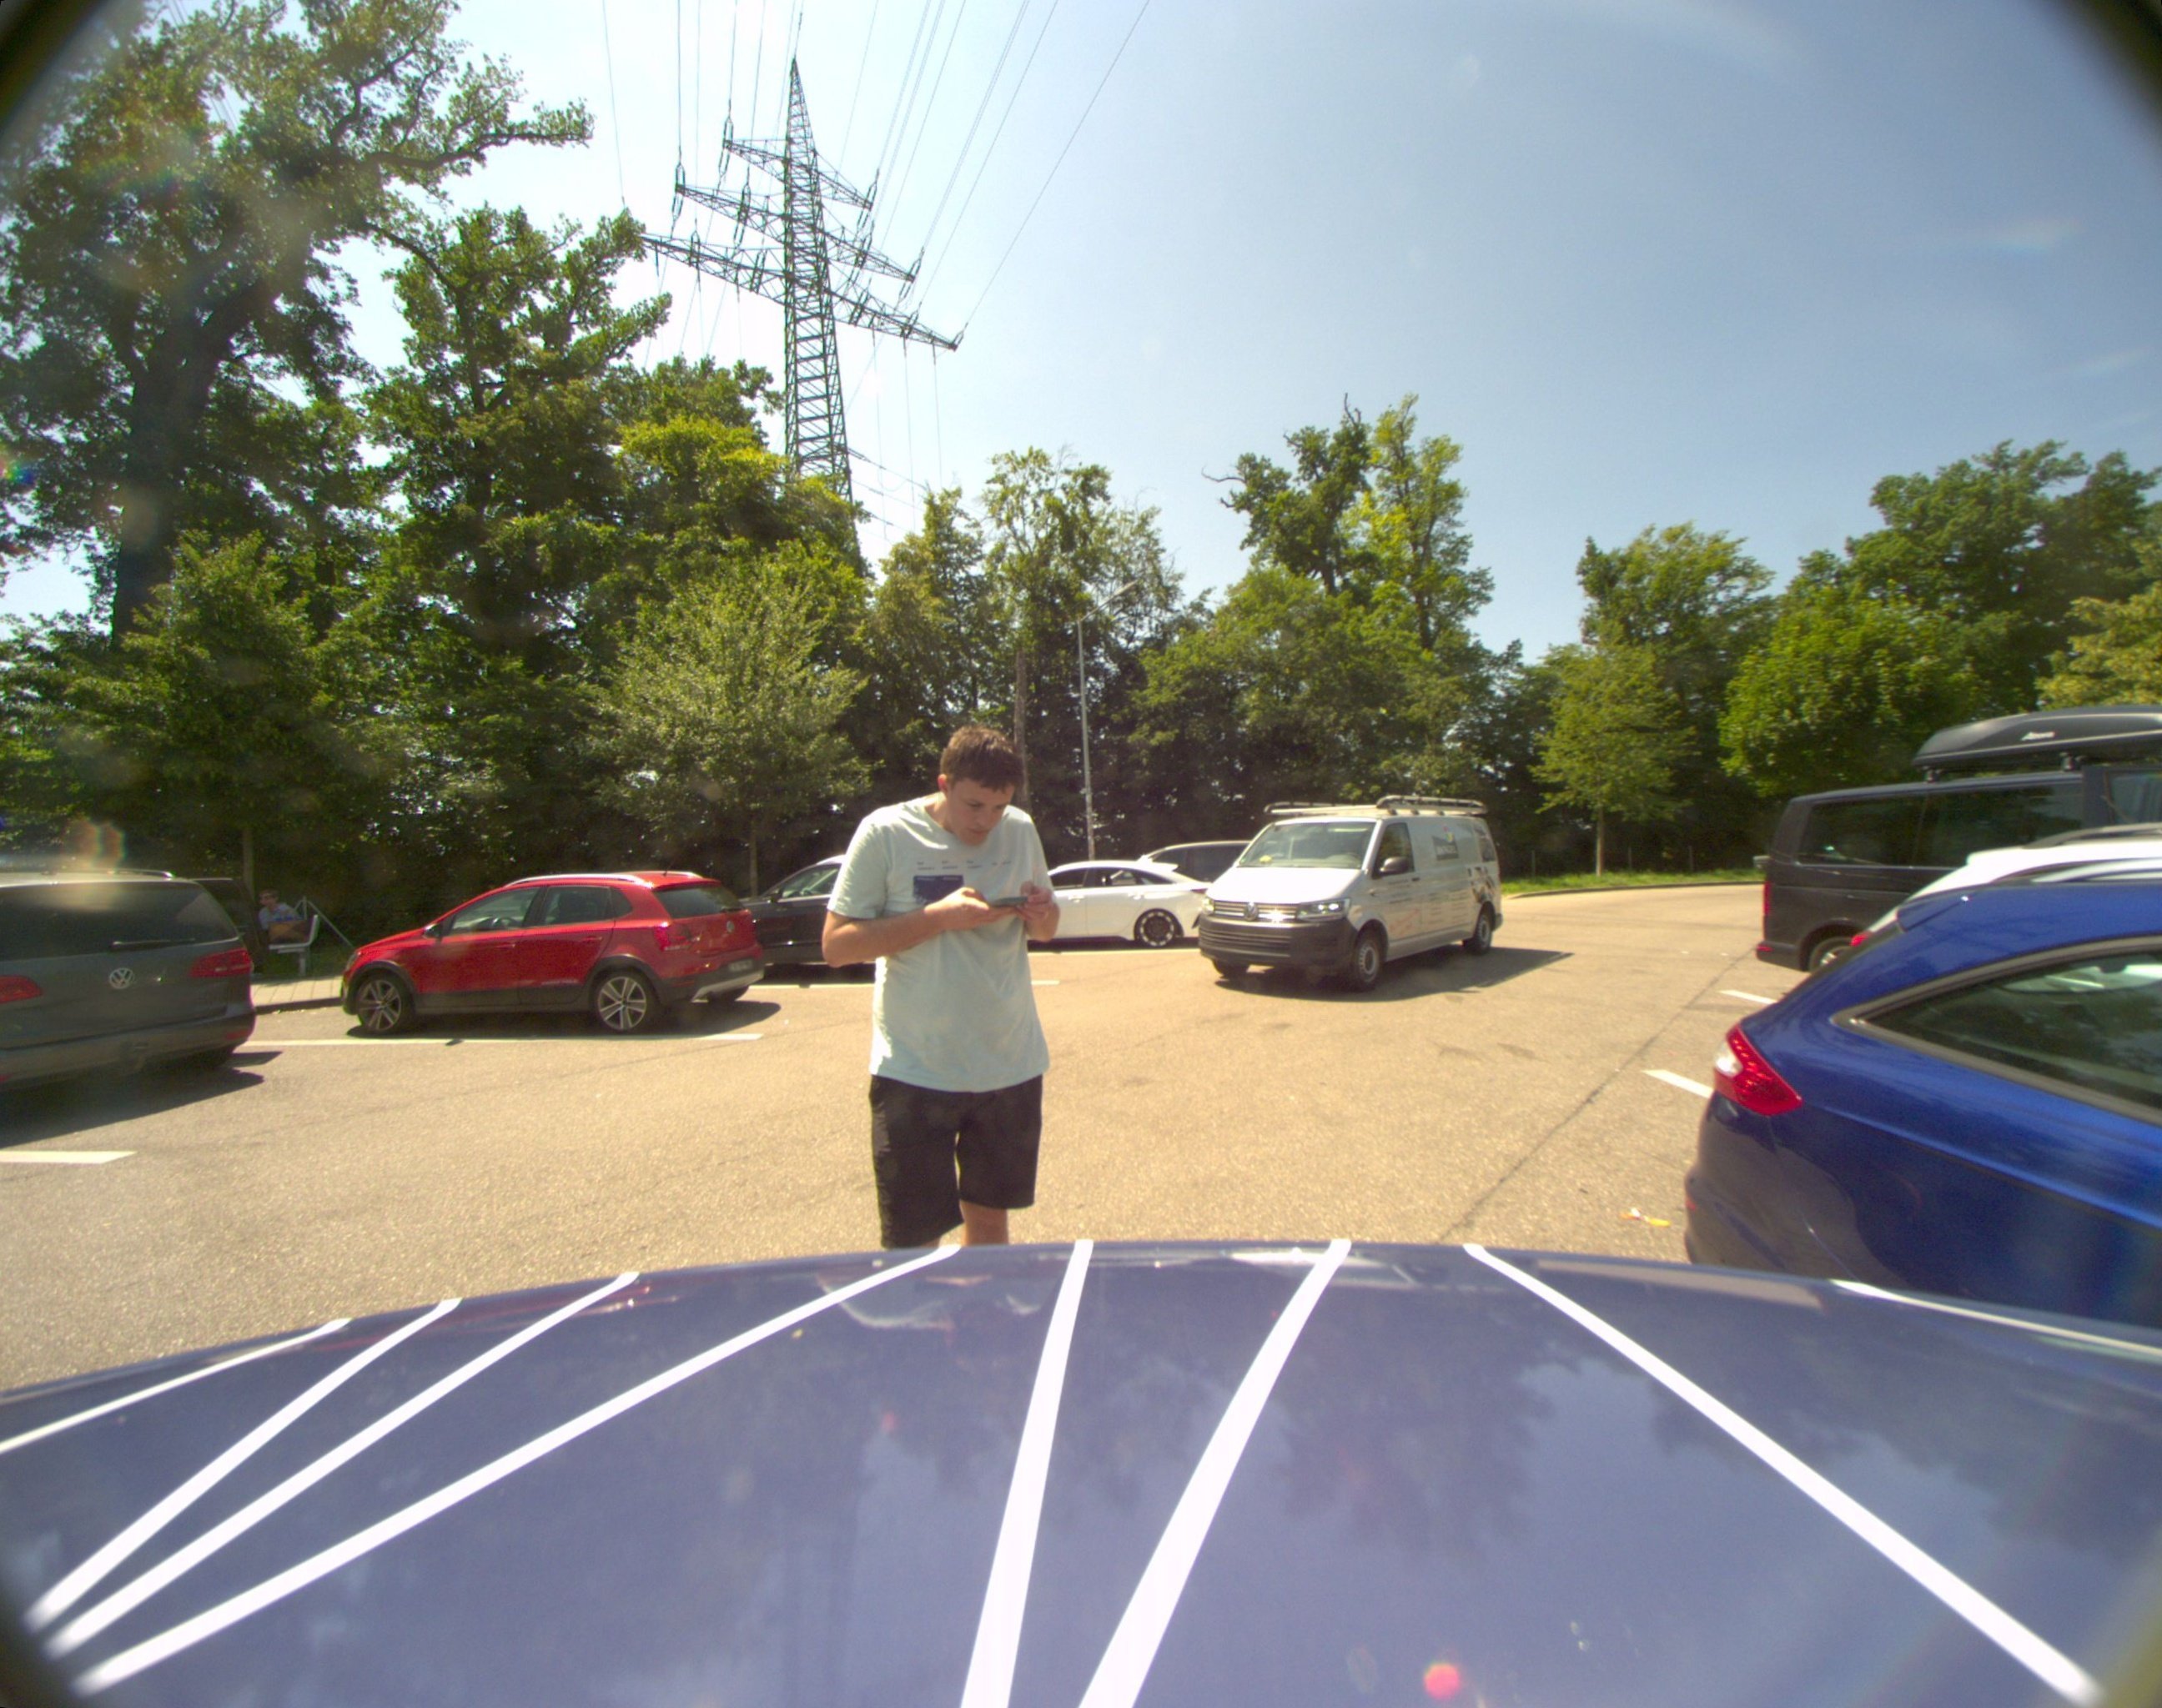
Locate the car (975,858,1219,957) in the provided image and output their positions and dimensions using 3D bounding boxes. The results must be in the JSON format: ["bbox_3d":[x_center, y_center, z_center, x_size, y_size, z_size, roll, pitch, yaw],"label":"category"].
[{"bbox_3d":[0.306,0.854,12.819,3.773,1.445,1.848,-2,0,4],"label":"car"}]

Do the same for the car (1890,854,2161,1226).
[{"bbox_3d":[4.686,0.690,2.208,1.344,1.352,3.114,-2,0,1],"label":"car"}]

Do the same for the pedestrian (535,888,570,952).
[{"bbox_3d":[-10.155,1.259,14.598,0.366,1.186,0.356,-2,1,21],"label":"pedestrian"}]

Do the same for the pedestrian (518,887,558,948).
[{"bbox_3d":[-10.984,1.283,15.387,0.413,1.186,0.443,-2,1,12],"label":"pedestrian"}]

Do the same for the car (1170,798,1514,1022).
[{"bbox_3d":[3.593,0.488,9.637,5.445,2.092,1.839,-2,1,-44],"label":"car"}]

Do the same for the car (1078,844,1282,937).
[{"bbox_3d":[1.966,0.712,15.523,3.850,1.678,1.755,-2,0,4],"label":"car"}]

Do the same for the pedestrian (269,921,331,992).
[{"bbox_3d":[-10.727,1.392,10.454,0.503,0.874,0.512,-3,1,-39],"label":"pedestrian"}]

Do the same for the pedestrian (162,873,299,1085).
[{"bbox_3d":[-7.340,1.037,6.576,0.481,1.712,0.589,-2,1,22],"label":"pedestrian"}]

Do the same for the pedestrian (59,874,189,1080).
[{"bbox_3d":[-8.409,1.053,6.689,0.436,1.712,0.511,-2,1,17],"label":"pedestrian"}]

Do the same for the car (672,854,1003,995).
[{"bbox_3d":[-3.106,0.885,10.263,3.866,1.607,1.709,-2,0,0],"label":"car"}]

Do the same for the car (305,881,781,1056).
[{"bbox_3d":[-5.236,1.088,7.654,3.745,1.458,1.621,-2,0,7],"label":"car"}]

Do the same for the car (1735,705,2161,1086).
[{"bbox_3d":[7.350,0.237,5.294,1.788,2.304,4.084,-2,0,-5],"label":"car"}]

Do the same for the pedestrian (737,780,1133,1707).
[{"bbox_3d":[-0.381,0.766,1.917,0.741,1.818,0.613,-2,0,-34],"label":"pedestrian"}]

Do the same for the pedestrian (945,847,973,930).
[{"bbox_3d":[-2.914,0.811,18.145,0.573,1.942,0.430,-2,0,-11],"label":"pedestrian"}]

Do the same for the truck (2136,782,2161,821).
[{"bbox_3d":[40.257,-1.975,27.070,1.168,1.367,2.882,-2,-1,-19],"label":"truck"}]

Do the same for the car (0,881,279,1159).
[{"bbox_3d":[-8.337,1.092,5.416,3.903,1.607,1.705,-2,1,11],"label":"car"}]
